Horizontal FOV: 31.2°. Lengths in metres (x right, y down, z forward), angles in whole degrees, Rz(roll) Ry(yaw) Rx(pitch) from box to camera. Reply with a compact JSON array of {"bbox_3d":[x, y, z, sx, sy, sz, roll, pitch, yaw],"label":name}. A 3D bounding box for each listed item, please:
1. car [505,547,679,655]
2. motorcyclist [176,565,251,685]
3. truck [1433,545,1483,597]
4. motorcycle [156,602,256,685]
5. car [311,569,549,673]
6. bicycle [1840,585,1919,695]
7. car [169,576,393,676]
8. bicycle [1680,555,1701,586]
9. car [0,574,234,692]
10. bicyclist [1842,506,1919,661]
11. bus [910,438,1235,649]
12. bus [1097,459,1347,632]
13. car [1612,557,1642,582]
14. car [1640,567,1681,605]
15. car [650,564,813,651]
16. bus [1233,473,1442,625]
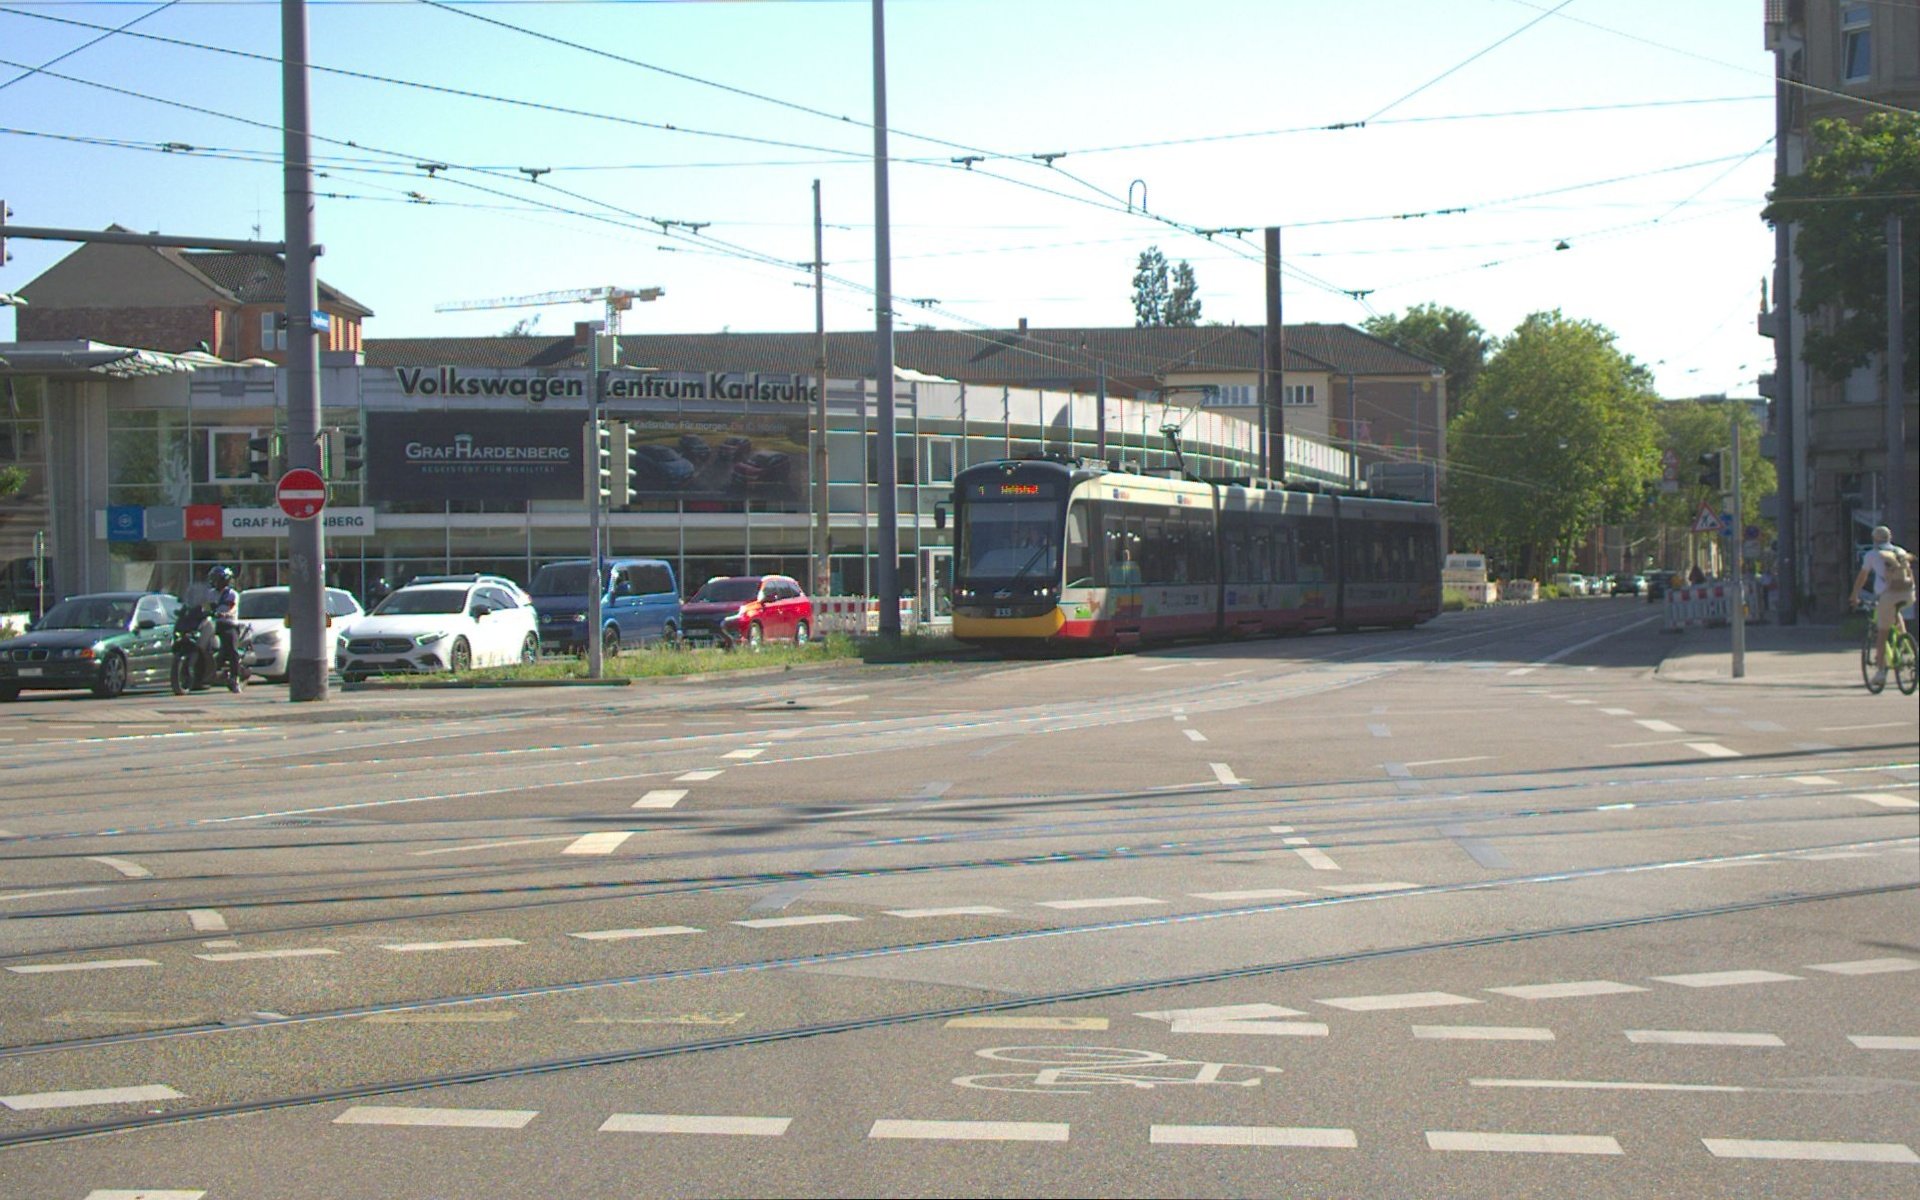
[{"bbox_3d":[-6.852,0.021,64.496,1.804,1.927,4.162,-1,0,16],"label":"car"},{"bbox_3d":[-9.898,0.331,45.592,0.585,1.574,0.943,-1,-1,15],"label":"motorcyclist"},{"bbox_3d":[27.865,-1.587,192.245,2.539,2.820,6.373,1,0,10],"label":"truck"},{"bbox_3d":[-9.939,0.566,45.352,0.519,1.043,1.746,-1,0,15],"label":"motorcycle"},{"bbox_3d":[-7.709,0.295,50.454,1.804,1.427,4.538,1,0,14],"label":"car"},{"bbox_3d":[10.250,0.428,38.155,0.531,1.113,1.934,1,2,3],"label":"bicycle"},{"bbox_3d":[-10.295,0.390,52.419,1.804,1.427,3.997,1,0,14],"label":"car"},{"bbox_3d":[26.501,-1.074,124.770,0.681,1.110,2.705,1,0,13],"label":"bicycle"},{"bbox_3d":[-11.438,0.423,46.282,1.650,1.474,3.968,-2,0,14],"label":"car"},{"bbox_3d":[10.240,-0.181,38.057,0.681,1.678,1.120,1,0,3],"label":"bicyclist"},{"bbox_3d":[2.413,-1.013,65.089,2.843,3.577,13.485,0,0,16],"label":"bus"},{"bbox_3d":[6.002,-1.173,76.594,2.844,3.577,10.715,0,0,20],"label":"bus"},{"bbox_3d":[46.819,-2.129,241.283,1.760,1.691,4.141,1,0,14],"label":"car"},{"bbox_3d":[37.885,-0.750,185.896,1.995,2.007,3.997,1,0,14],"label":"car"},{"bbox_3d":[-4.727,0.158,71.642,1.801,1.713,4.412,-1,0,19],"label":"car"},{"bbox_3d":[9.708,-1.251,86.995,2.843,3.577,11.260,0,0,19],"label":"bus"}]
